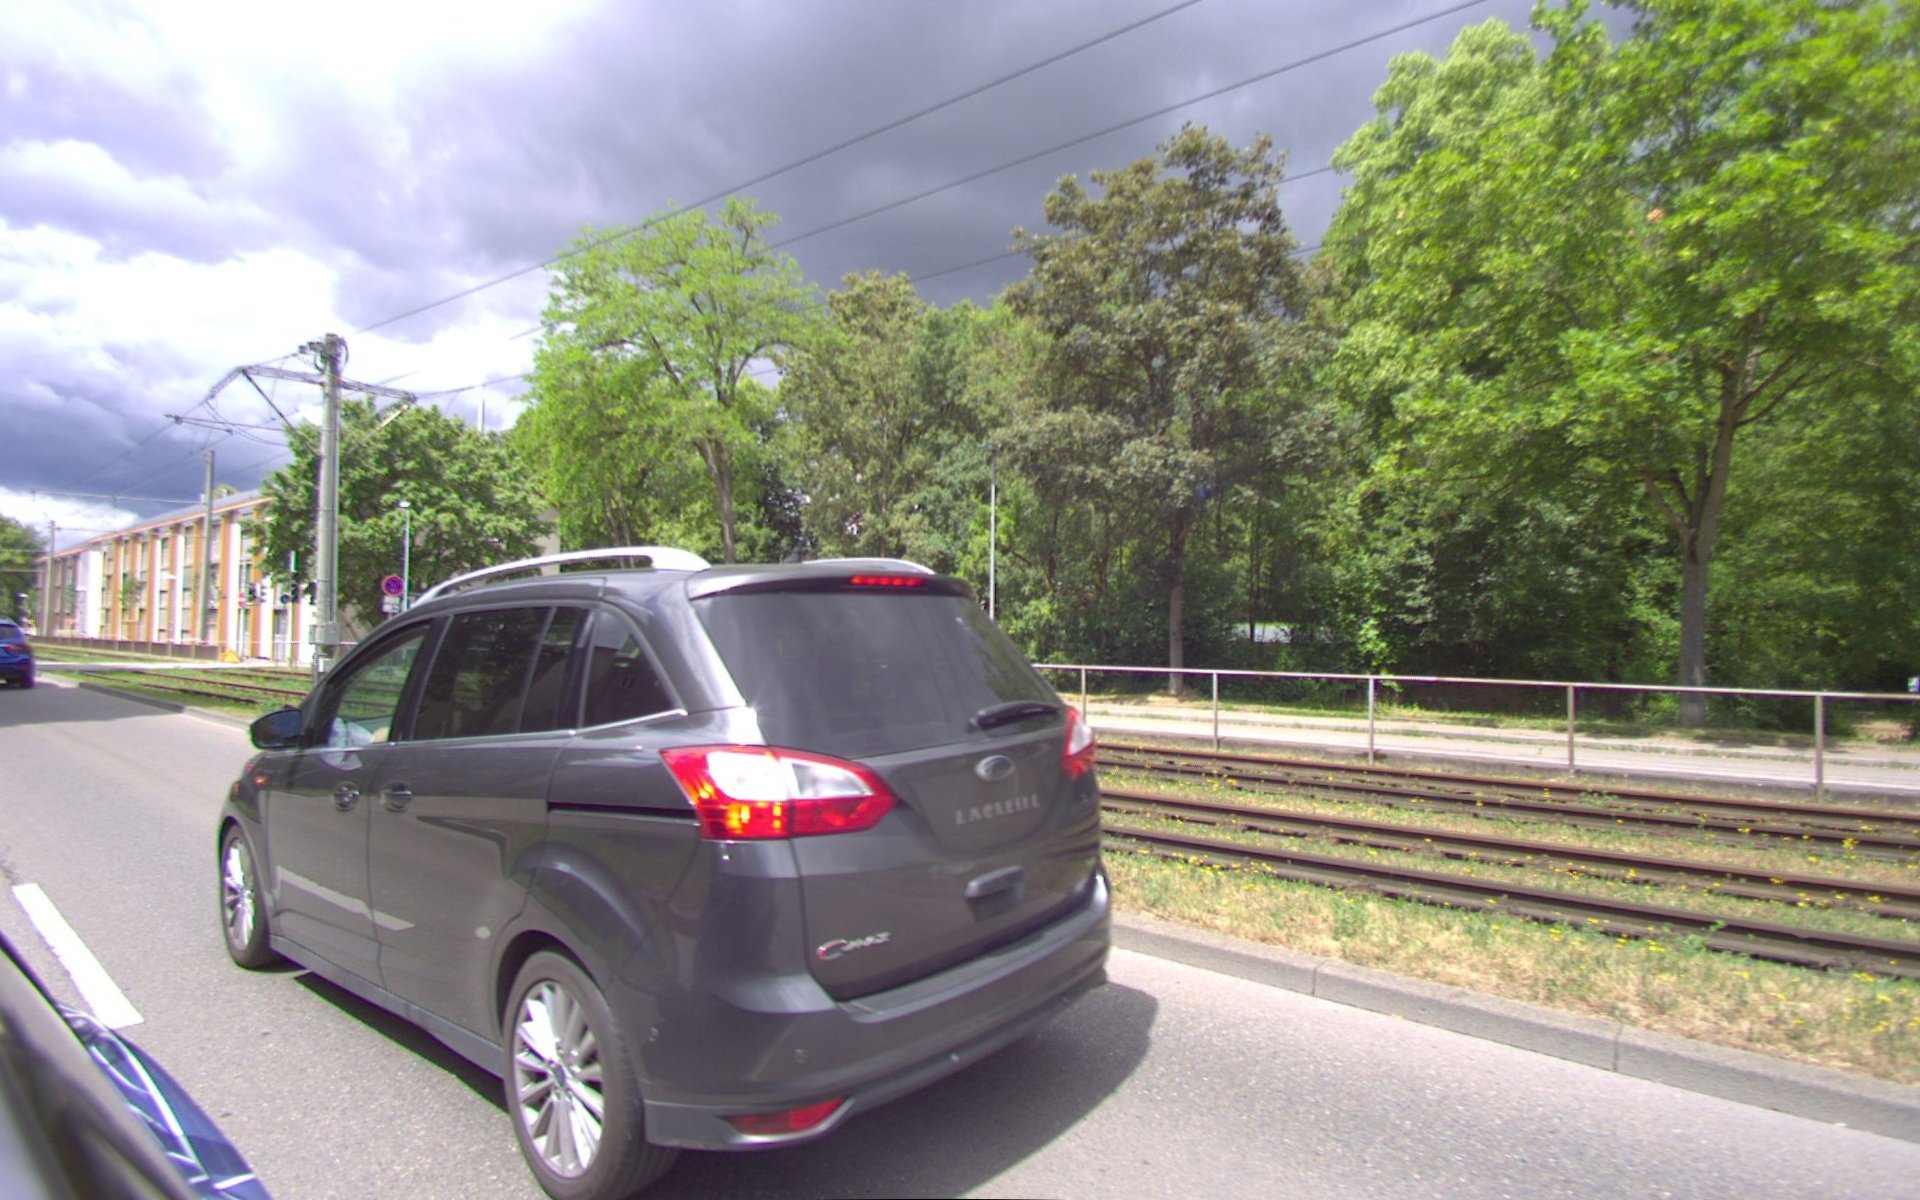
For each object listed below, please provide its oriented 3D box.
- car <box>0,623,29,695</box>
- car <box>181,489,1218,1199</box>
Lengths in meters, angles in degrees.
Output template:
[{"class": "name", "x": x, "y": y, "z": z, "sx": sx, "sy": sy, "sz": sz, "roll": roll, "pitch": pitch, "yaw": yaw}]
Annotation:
[{"class": "car", "x": -22.787, "y": 1.345, "z": 23.192, "sx": 4.164, "sy": 1.578, "sz": 1.695, "roll": -2, "pitch": -1, "yaw": 41}, {"class": "car", "x": -1.357, "y": 0.676, "z": 3.852, "sx": 4.224, "sy": 1.689, "sz": 1.690, "roll": -1, "pitch": -1, "yaw": 40}]
